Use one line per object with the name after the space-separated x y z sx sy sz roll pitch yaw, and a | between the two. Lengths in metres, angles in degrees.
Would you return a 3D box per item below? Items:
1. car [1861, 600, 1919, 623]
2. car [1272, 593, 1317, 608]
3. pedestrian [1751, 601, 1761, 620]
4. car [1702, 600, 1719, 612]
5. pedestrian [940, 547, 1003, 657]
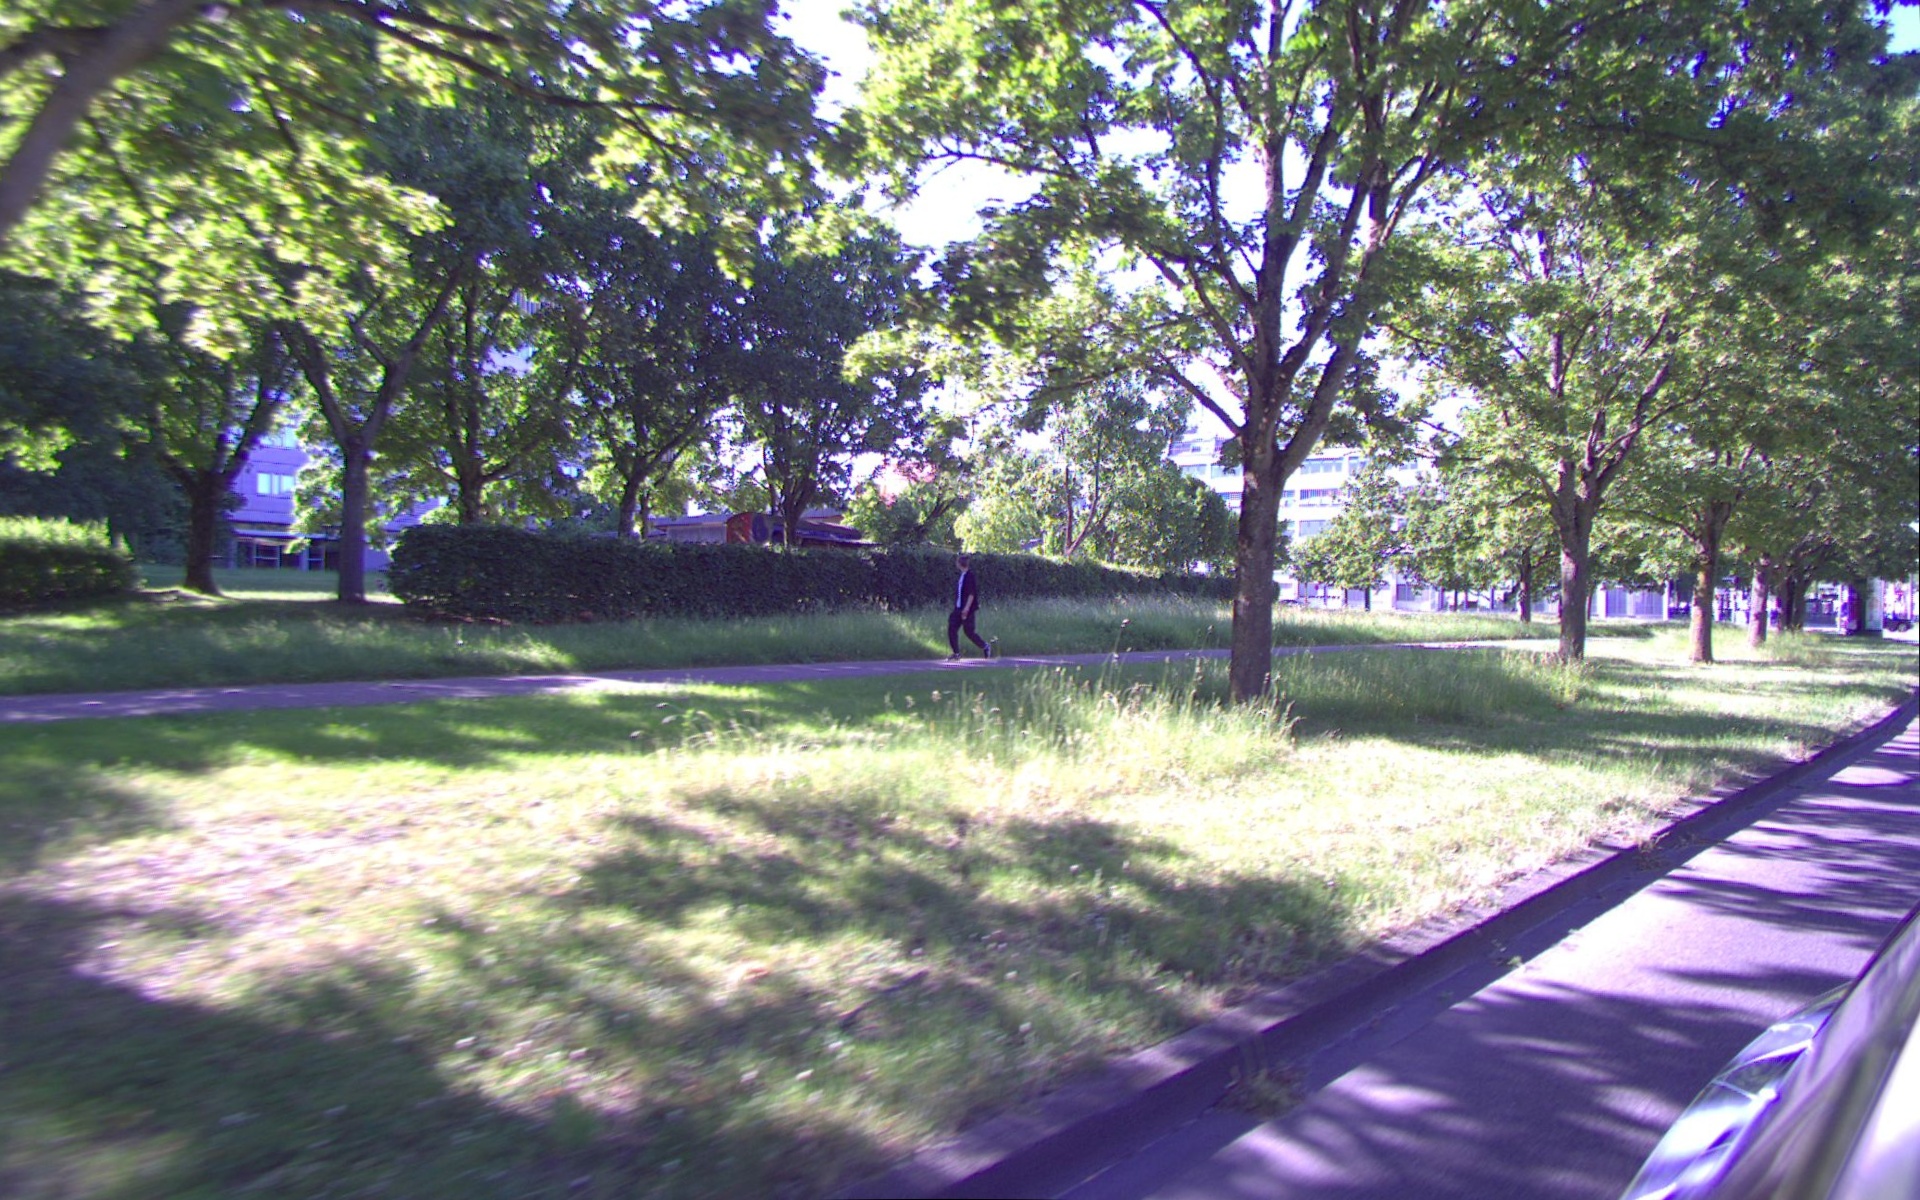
72.915 0.872 78.188 4.599 1.643 1.976 1 1 34 | car
35.446 0.044 107.352 4.249 1.438 1.900 1 0 29 | car
76.936 1.013 97.794 0.729 1.718 0.725 1 0 38 | pedestrian
114.994 0.902 155.152 1.680 1.731 4.194 1 0 31 | car
0.199 0.025 17.292 0.780 1.826 0.717 1 0 -42 | pedestrian
